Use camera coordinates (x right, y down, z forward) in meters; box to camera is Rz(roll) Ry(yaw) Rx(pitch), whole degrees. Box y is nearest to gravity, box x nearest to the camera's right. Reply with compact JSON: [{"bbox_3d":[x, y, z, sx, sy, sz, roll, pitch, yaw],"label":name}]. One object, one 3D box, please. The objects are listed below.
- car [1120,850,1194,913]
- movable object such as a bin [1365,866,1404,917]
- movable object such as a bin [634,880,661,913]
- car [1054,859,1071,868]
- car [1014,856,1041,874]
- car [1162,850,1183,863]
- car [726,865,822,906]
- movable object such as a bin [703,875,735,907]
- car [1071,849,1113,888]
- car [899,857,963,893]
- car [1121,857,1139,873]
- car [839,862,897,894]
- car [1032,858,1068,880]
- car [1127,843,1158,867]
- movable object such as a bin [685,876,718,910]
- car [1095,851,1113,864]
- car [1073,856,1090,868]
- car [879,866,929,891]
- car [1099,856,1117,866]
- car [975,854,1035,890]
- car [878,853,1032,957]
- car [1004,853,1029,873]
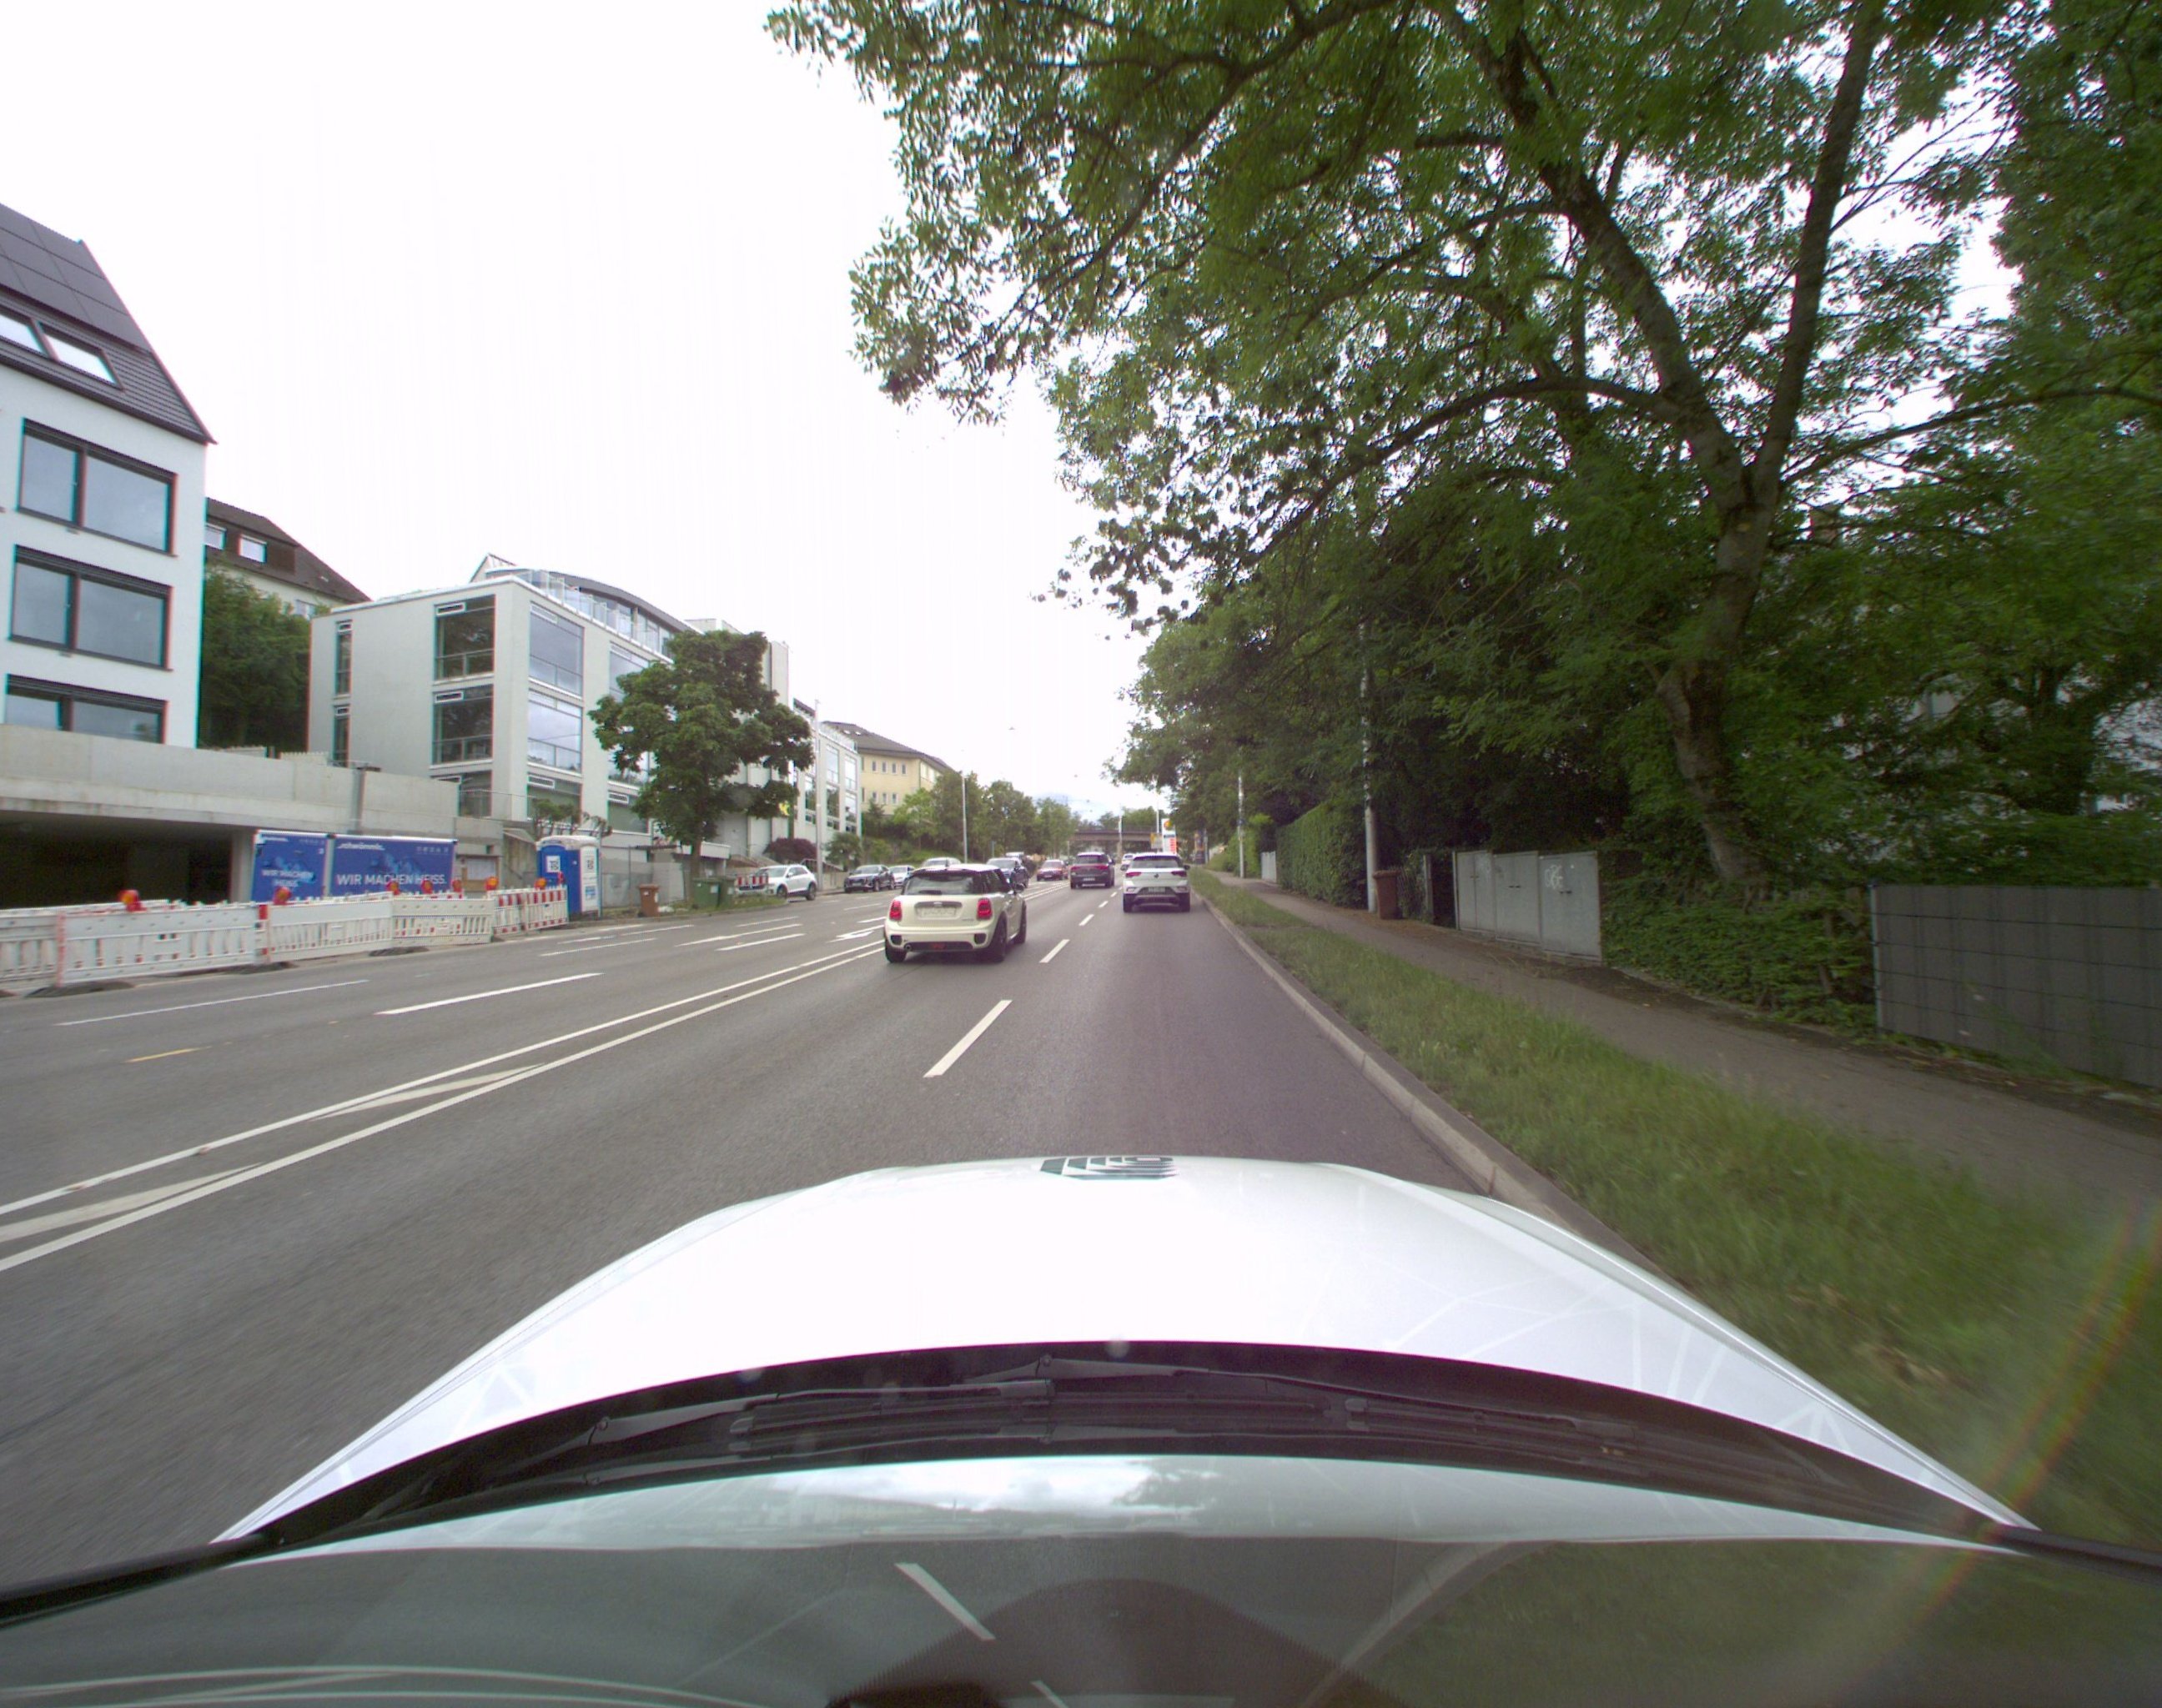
[{"bbox_3d":[2.019,0.708,22.581,1.804,1.539,3.691,-2,0,2],"label":"car"},{"bbox_3d":[5.837,0.720,15.687,0.552,0.947,0.568,-1,-1,1],"label":"movable object such as a bin"},{"bbox_3d":[-12.105,1.182,22.755,0.661,0.879,0.641,0,-1,-27],"label":"movable object such as a bin"},{"bbox_3d":[-3.440,1.722,149.257,1.900,1.542,4.666,-1,0,-17],"label":"car"},{"bbox_3d":[-5.212,1.095,79.682,2.060,1.656,4.695,-1,0,2],"label":"car"},{"bbox_3d":[10.537,0.272,93.669,1.845,1.500,4.070,-2,0,13],"label":"car"},{"bbox_3d":[-12.361,1.227,33.103,1.761,1.499,4.314,-1,0,8],"label":"car"},{"bbox_3d":[-11.394,1.163,25.648,0.640,0.990,0.662,-1,-1,13],"label":"movable object such as a bin"},{"bbox_3d":[0.534,0.643,38.357,1.806,1.652,4.637,-2,0,2],"label":"car"},{"bbox_3d":[-7.207,0.978,39.584,1.761,1.634,4.152,-1,0,8],"label":"car"},{"bbox_3d":[5.529,1.217,92.576,1.851,1.652,4.637,-2,0,2],"label":"car"},{"bbox_3d":[-11.720,1.277,45.120,1.762,1.634,3.922,-1,0,6],"label":"car"},{"bbox_3d":[-2.027,0.978,54.676,1.732,1.352,4.854,-1,0,6],"label":"car"},{"bbox_3d":[4.123,0.108,55.057,1.866,1.501,4.557,2,-1,2],"label":"car"},{"bbox_3d":[-11.663,1.187,25.018,0.640,1.015,0.662,-1,-1,13],"label":"movable object such as a bin"},{"bbox_3d":[2.920,0.477,102.875,1.891,1.542,4.688,-1,0,-3],"label":"car"},{"bbox_3d":[0.027,1.109,110.818,1.893,1.542,4.683,-1,0,-6],"label":"car"},{"bbox_3d":[-10.973,1.512,50.786,1.762,1.407,4.150,-1,0,6],"label":"car"},{"bbox_3d":[4.269,1.135,129.809,1.895,1.542,4.678,-1,0,-9],"label":"car"},{"bbox_3d":[-3.581,0.807,39.492,1.761,1.596,5.194,-1,0,7],"label":"car"},{"bbox_3d":[-1.865,0.714,13.106,1.620,1.393,3.570,-2,0,4],"label":"car"},{"bbox_3d":[-7.445,1.029,94.454,2.060,2.306,5.470,-1,0,3],"label":"car"}]
